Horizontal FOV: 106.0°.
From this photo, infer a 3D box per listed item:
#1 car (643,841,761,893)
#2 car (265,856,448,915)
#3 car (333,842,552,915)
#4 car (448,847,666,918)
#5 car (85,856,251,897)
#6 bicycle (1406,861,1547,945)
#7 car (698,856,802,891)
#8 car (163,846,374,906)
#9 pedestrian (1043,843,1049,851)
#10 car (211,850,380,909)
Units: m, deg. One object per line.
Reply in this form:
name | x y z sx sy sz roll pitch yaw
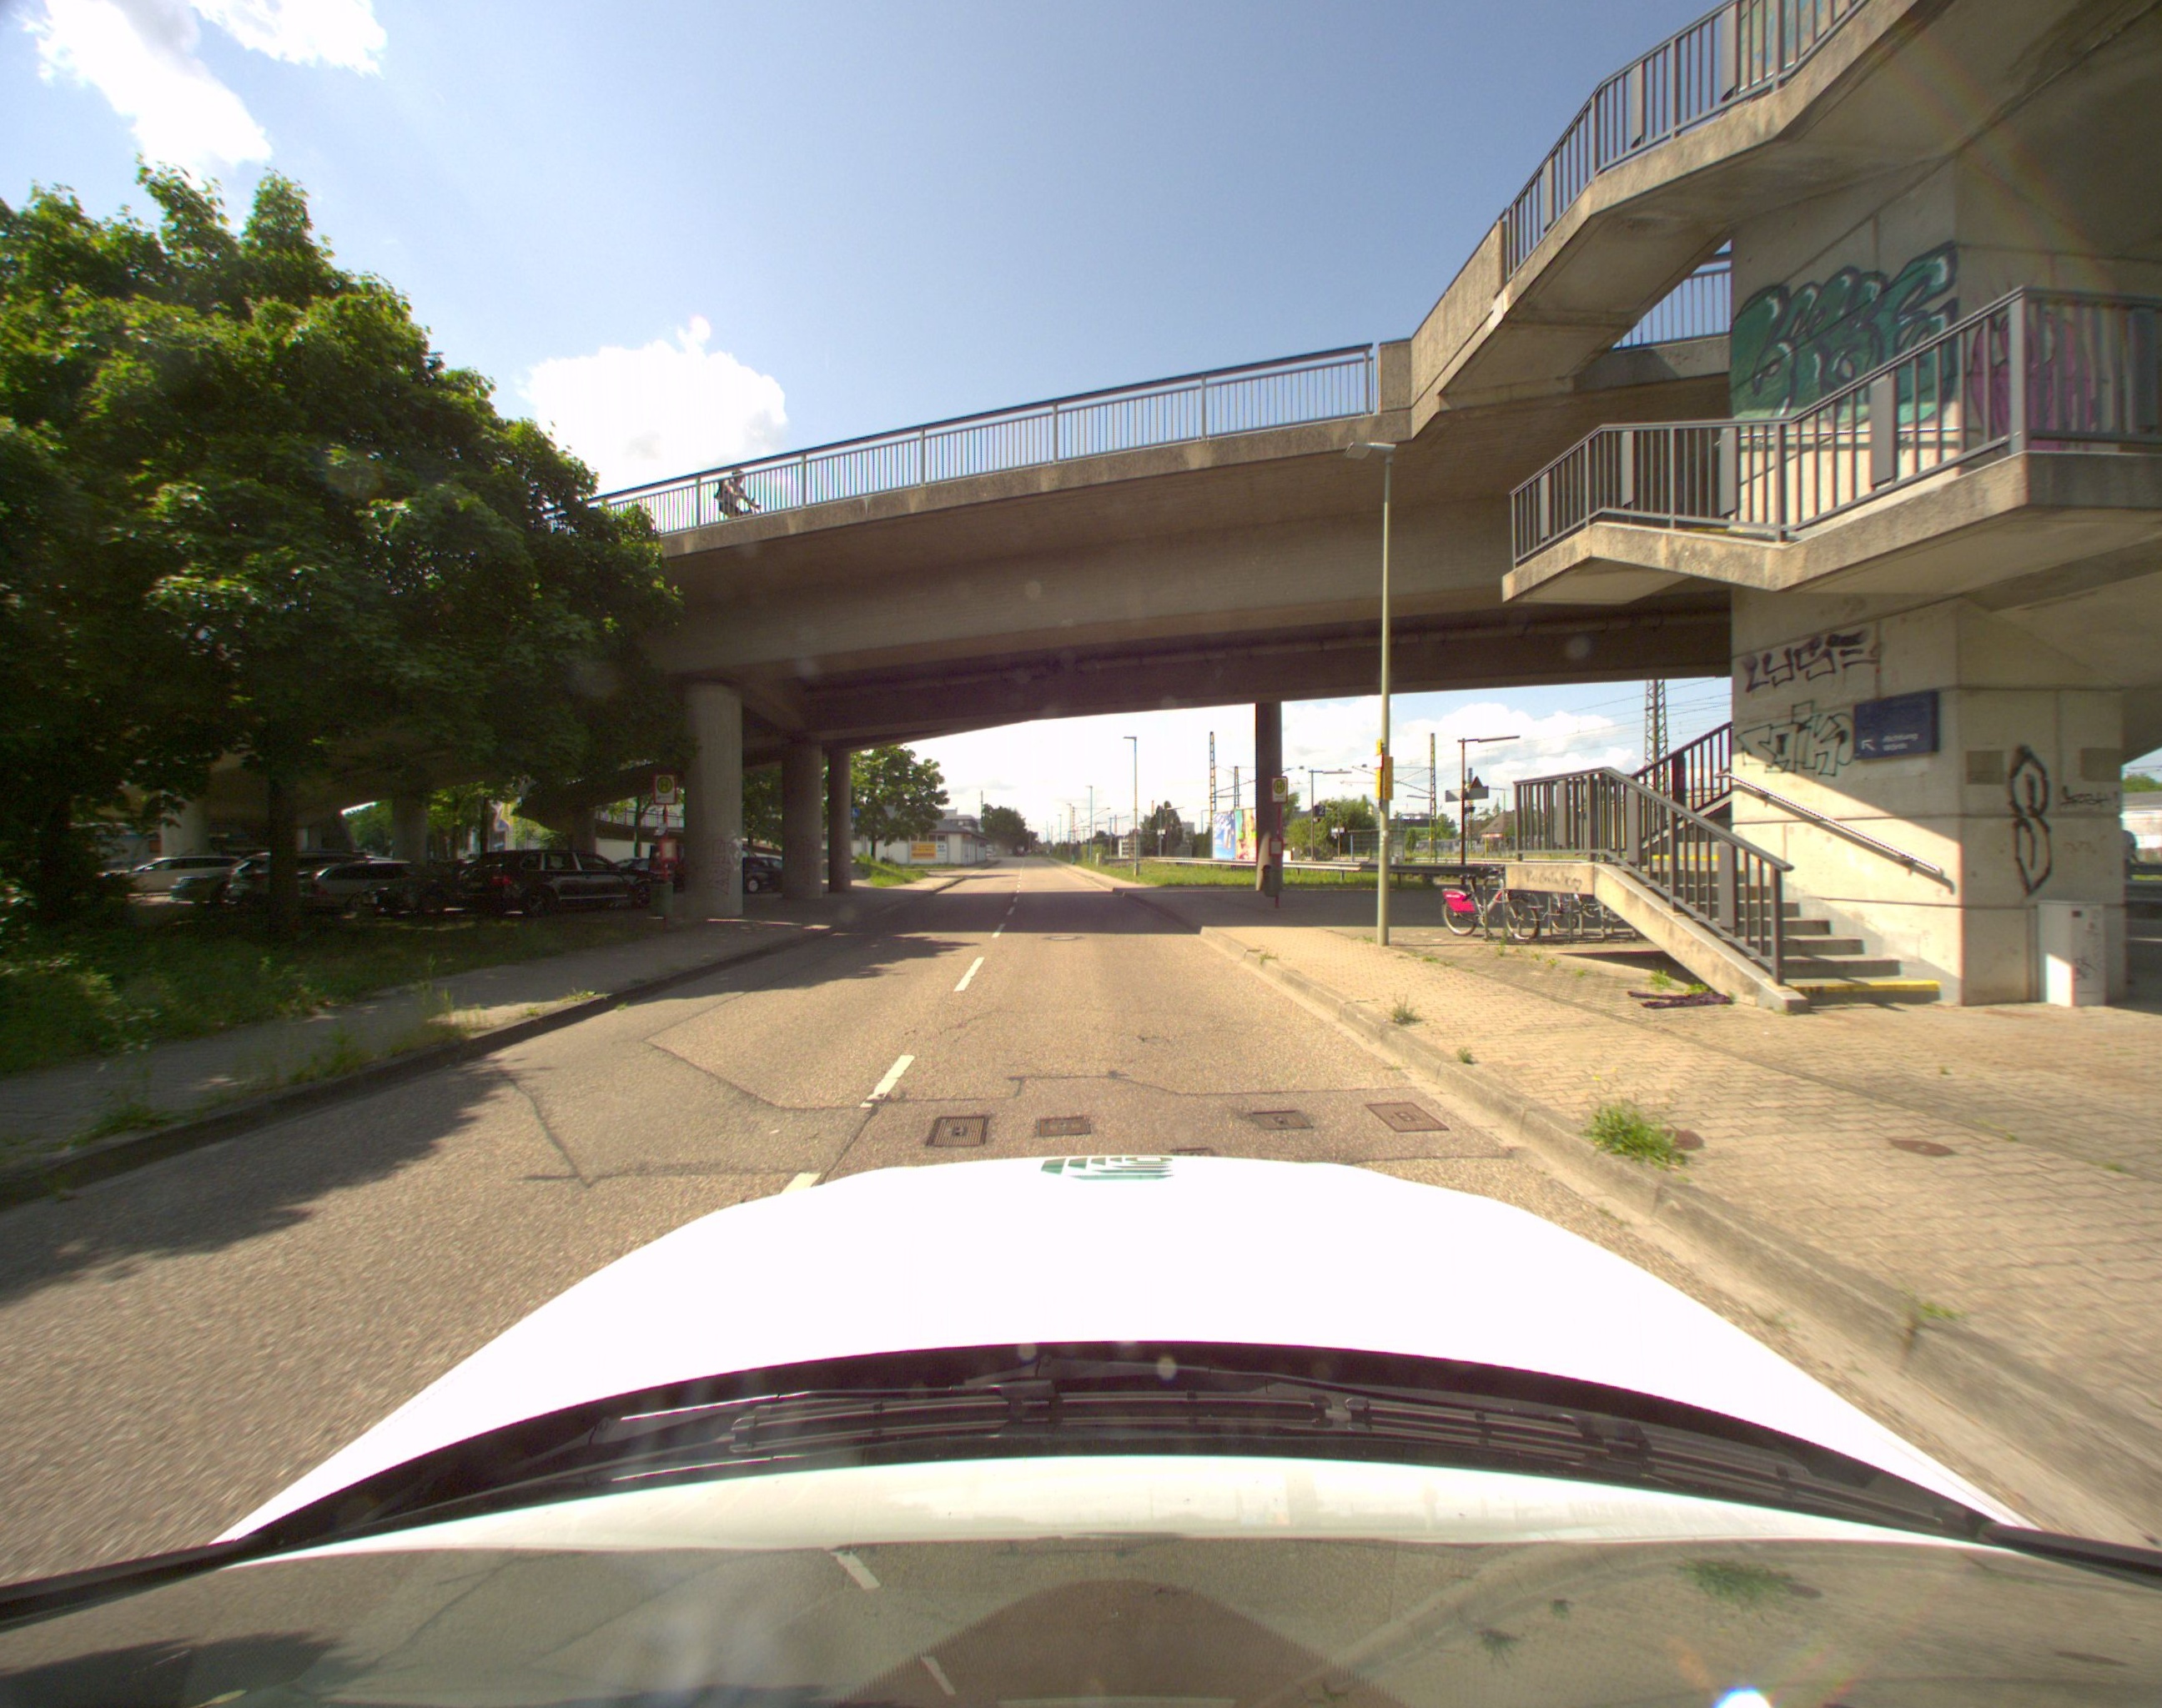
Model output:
car | -15.613 0.485 33.704 1.922 2.013 3.983 -1 0 34
car | -19.674 0.809 22.260 1.735 1.451 3.285 -1 0 22
car | -16.476 0.576 21.246 1.975 1.719 4.024 -1 0 27
car | -13.369 0.650 21.139 1.664 1.629 4.599 -1 0 23
car | -34.889 0.820 31.224 1.688 1.444 4.050 -1 0 35
bicycle | 5.780 0.670 12.083 0.643 1.108 2.182 -1 0 -13
car | -13.101 0.758 32.352 1.671 1.284 3.472 -1 0 33
car | -24.949 0.628 25.213 1.699 1.708 4.269 -1 0 23
pedestrian | -8.509 -1.647 197.407 1.066 2.013 0.841 0 0 -44
car | -22.298 0.682 23.240 1.536 1.548 3.107 -1 0 23
